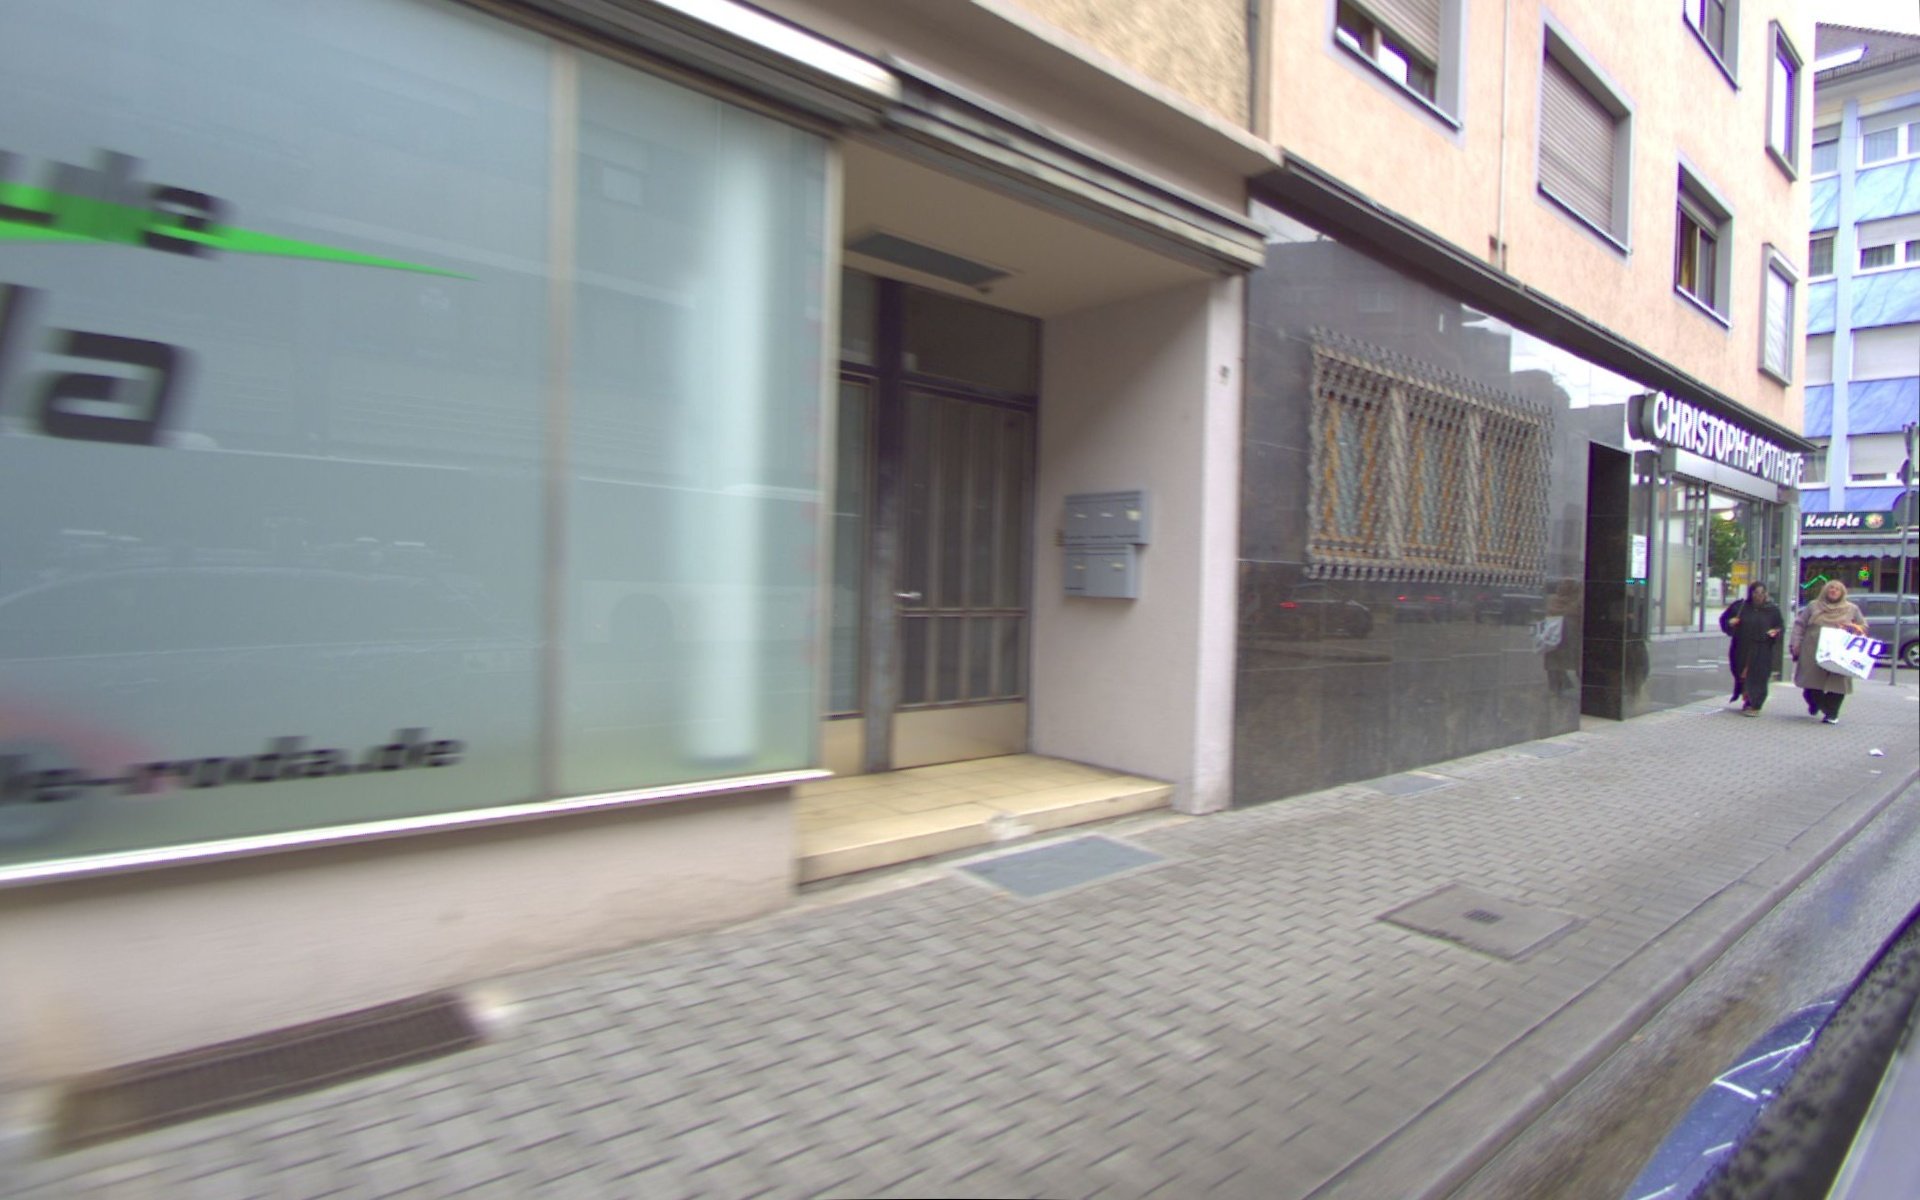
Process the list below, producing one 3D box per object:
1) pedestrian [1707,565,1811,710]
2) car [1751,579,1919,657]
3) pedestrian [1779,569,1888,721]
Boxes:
[{"bbox_3d":[9.157,0.397,11.605,0.861,1.579,0.769,-1,2,-42],"label":"pedestrian"},{"bbox_3d":[20.361,0.357,22.606,1.899,1.593,3.839,0,2,-35],"label":"car"},{"bbox_3d":[9.582,0.457,11.103,0.769,1.579,0.780,-1,2,-42],"label":"pedestrian"}]
